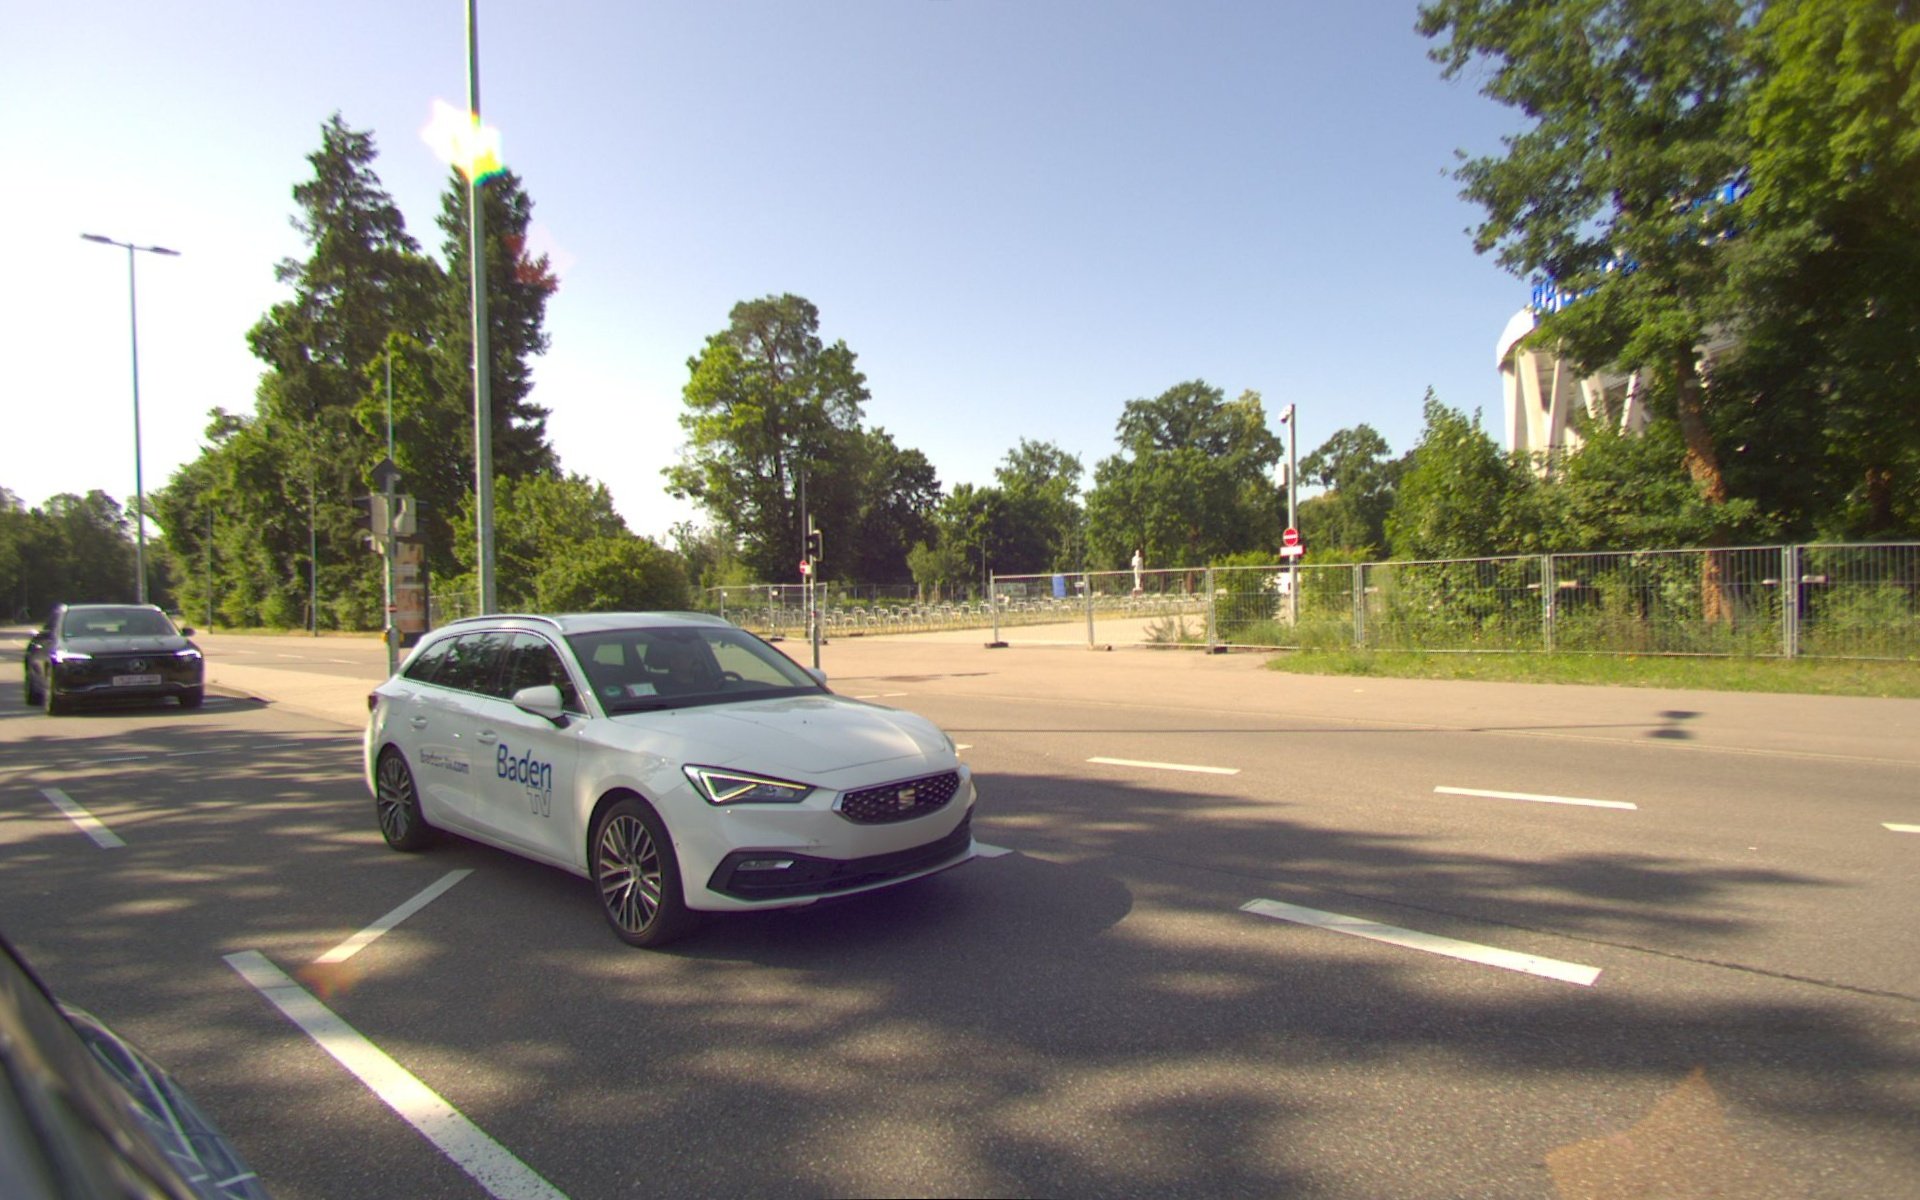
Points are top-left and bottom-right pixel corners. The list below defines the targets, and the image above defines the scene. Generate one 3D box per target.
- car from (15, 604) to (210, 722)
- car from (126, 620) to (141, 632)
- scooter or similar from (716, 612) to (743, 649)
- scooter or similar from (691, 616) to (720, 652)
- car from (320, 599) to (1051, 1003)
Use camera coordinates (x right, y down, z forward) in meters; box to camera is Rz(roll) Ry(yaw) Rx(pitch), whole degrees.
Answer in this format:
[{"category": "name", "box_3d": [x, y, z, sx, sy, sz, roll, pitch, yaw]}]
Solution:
[{"category": "car", "box_3d": [-13.413, 0.877, 15.931, 4.272, 1.608, 1.785, 0, 0, 42]}, {"category": "car", "box_3d": [-141.714, 4.452, 173.606, 1.848, 1.874, 4.009, -1, 0, -37]}, {"category": "scooter or similar", "box_3d": [-7.897, 1.036, 34.720, 0.393, 1.231, 1.075, -1, 0, 18]}, {"category": "scooter or similar", "box_3d": [-8.567, 1.134, 34.059, 0.390, 1.154, 1.198, -1, 0, -42]}, {"category": "car", "box_3d": [-1.897, 0.759, 5.811, 4.717, 1.437, 1.707, -1, -1, 41]}]
